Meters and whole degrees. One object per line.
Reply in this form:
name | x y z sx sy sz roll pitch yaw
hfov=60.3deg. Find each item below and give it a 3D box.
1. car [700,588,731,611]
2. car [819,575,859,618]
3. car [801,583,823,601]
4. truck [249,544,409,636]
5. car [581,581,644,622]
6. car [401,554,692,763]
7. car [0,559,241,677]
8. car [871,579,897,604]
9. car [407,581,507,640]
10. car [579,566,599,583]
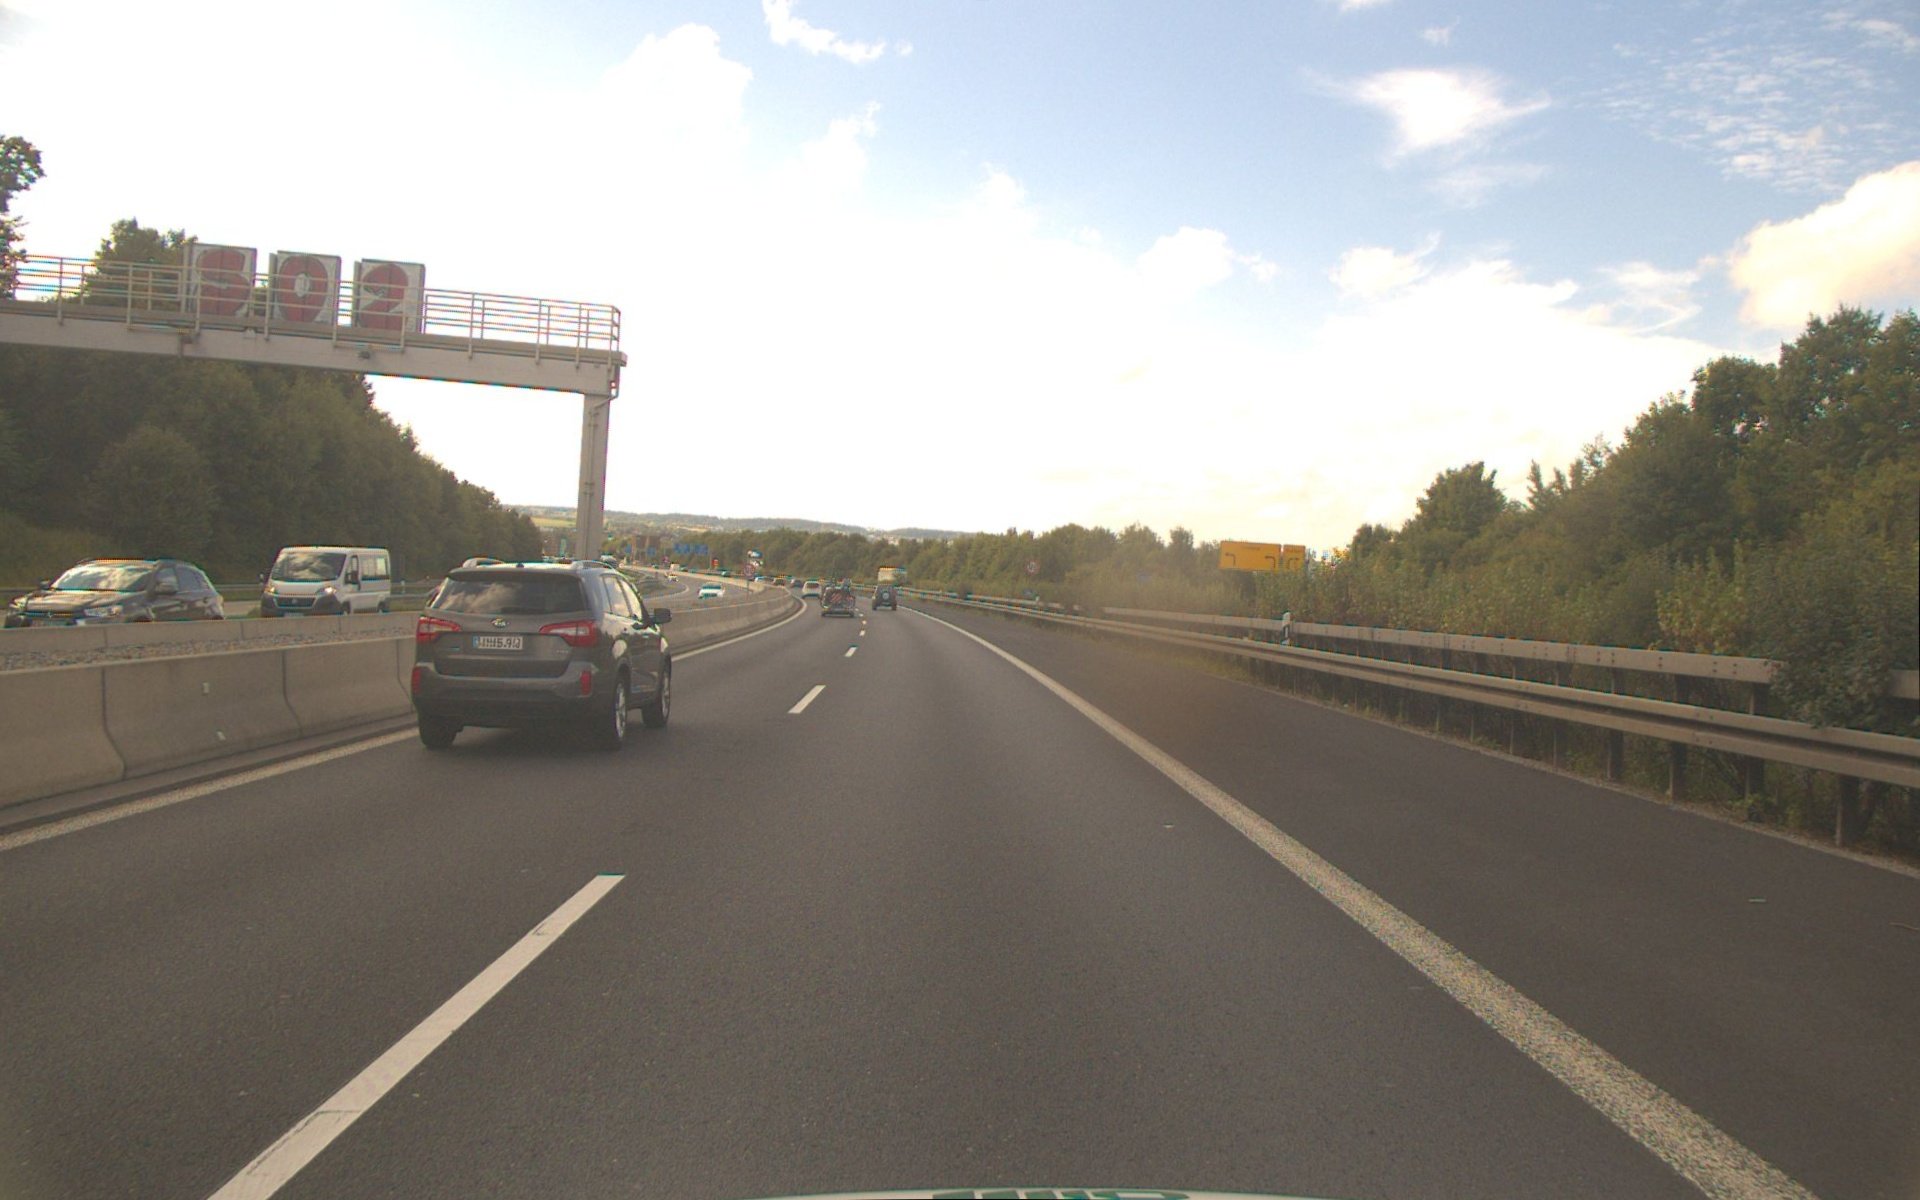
car | -18.074 -0.052 122.490 1.729 1.608 4.930 2 0 -3
car | -6.447 -0.229 88.157 1.990 2.189 3.998 1 1 -3
car | -14.844 -0.743 165.540 1.956 1.713 3.993 1 -1 -8
truck | -16.717 -0.266 44.165 2.139 2.265 5.570 1 0 -1
car | -15.032 0.060 71.694 1.953 1.670 3.999 1 0 -2
car | -3.979 0.496 16.854 1.781 1.766 5.185 1 0 -2
car | -12.962 0.223 24.937 1.953 1.563 5.284 1 0 -1
car | -5.185 -0.575 113.156 1.556 1.624 4.091 1 1 -5
car | -13.402 0.268 44.282 1.533 1.475 3.887 1 0 -1
car | -47.416 -3.243 211.460 1.955 2.049 3.996 2 0 -5
